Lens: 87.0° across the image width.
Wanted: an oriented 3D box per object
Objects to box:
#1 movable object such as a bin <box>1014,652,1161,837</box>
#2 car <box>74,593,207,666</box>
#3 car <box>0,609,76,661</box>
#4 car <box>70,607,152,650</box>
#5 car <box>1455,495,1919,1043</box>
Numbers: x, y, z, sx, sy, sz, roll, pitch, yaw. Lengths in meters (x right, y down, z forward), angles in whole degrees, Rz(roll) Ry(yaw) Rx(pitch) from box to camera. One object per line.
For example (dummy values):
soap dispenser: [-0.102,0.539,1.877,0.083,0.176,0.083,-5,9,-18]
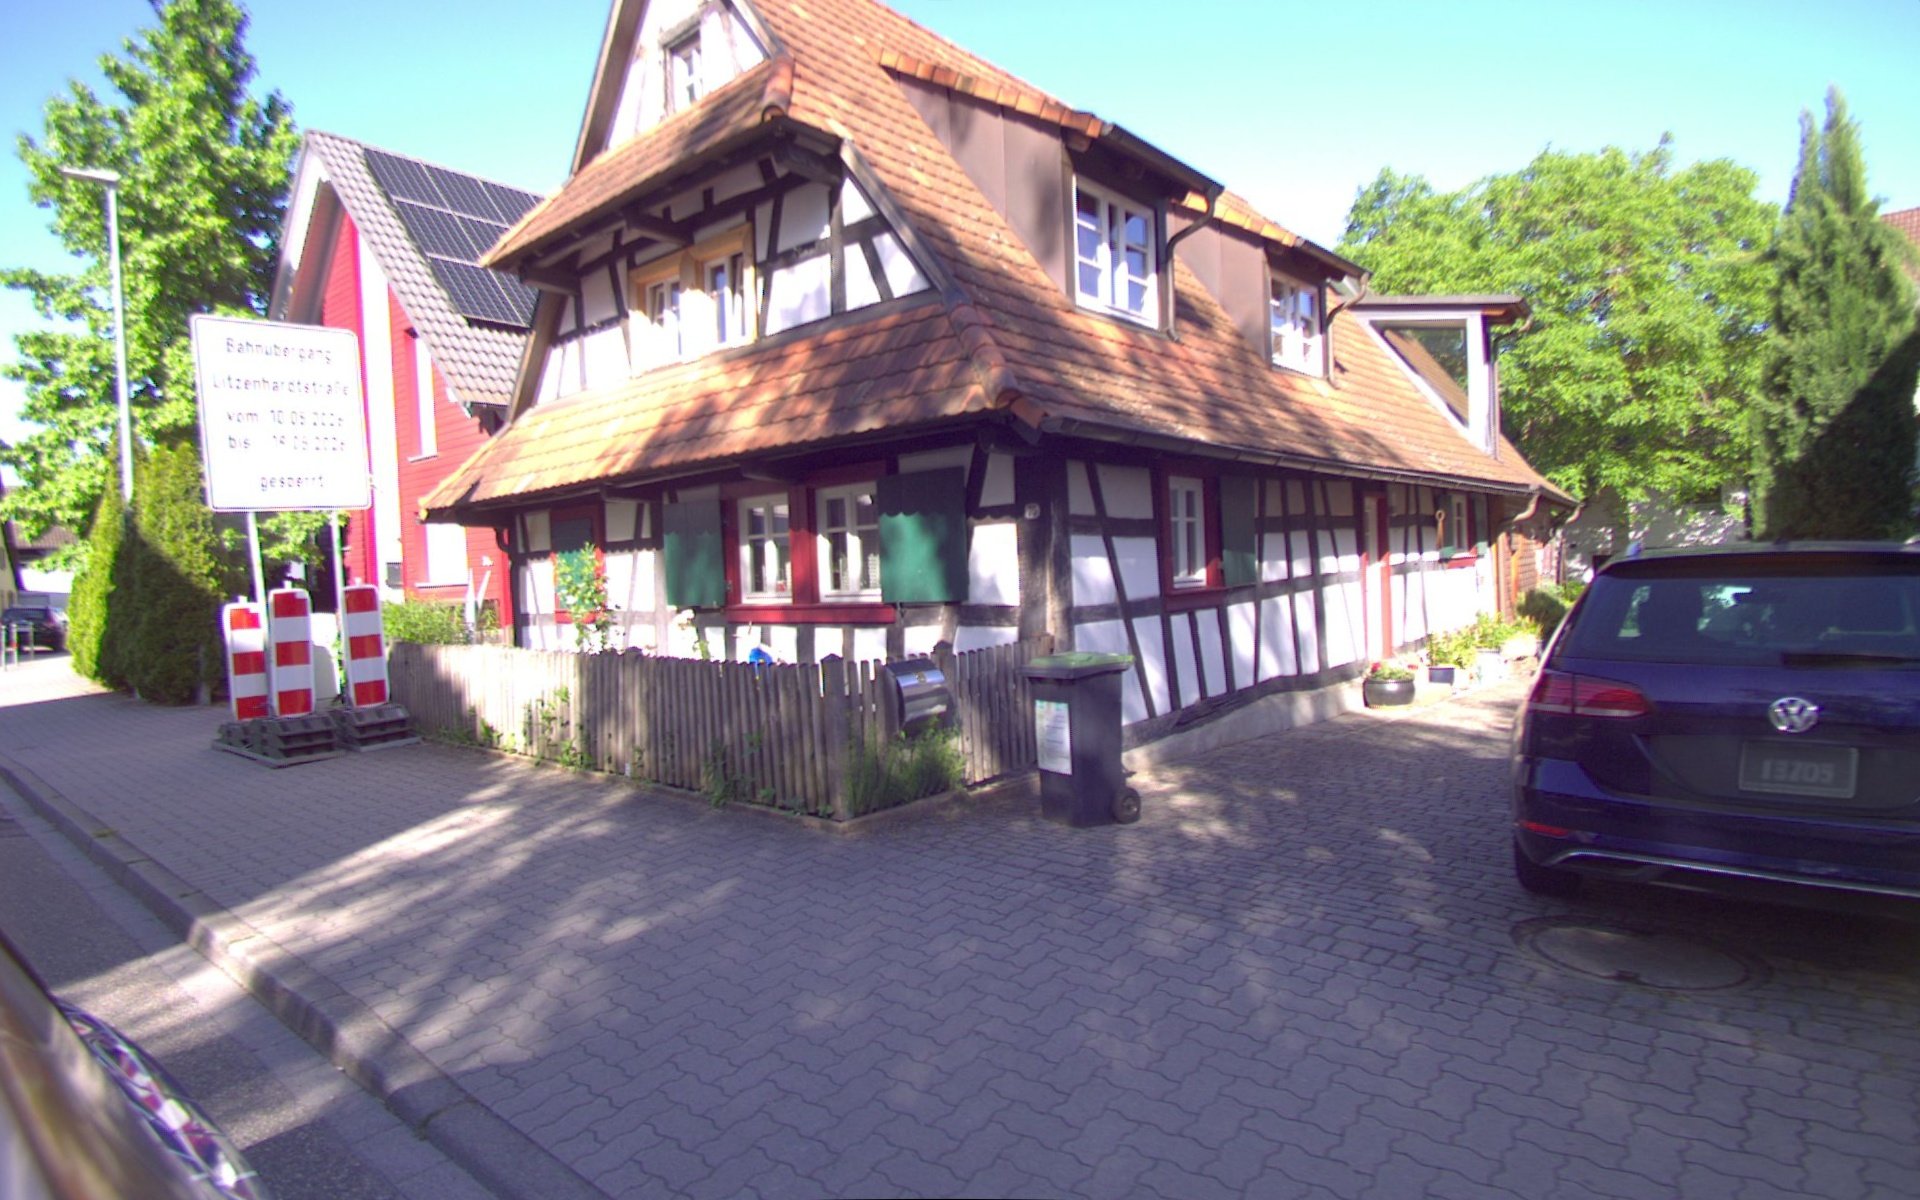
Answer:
movable object such as a bin: [0.692,0.755,5.539,0.575,0.904,0.557,0,0,-28]
car: [-20.868,0.678,25.970,1.792,1.607,4.459,-4,2,-29]
car: [-32.243,1.201,35.043,1.807,1.684,4.364,0,-2,-33]
car: [-37.679,1.247,45.032,1.806,1.803,4.367,1,-1,-26]
car: [3.637,0.446,4.504,1.845,1.473,4.120,-1,-1,37]
